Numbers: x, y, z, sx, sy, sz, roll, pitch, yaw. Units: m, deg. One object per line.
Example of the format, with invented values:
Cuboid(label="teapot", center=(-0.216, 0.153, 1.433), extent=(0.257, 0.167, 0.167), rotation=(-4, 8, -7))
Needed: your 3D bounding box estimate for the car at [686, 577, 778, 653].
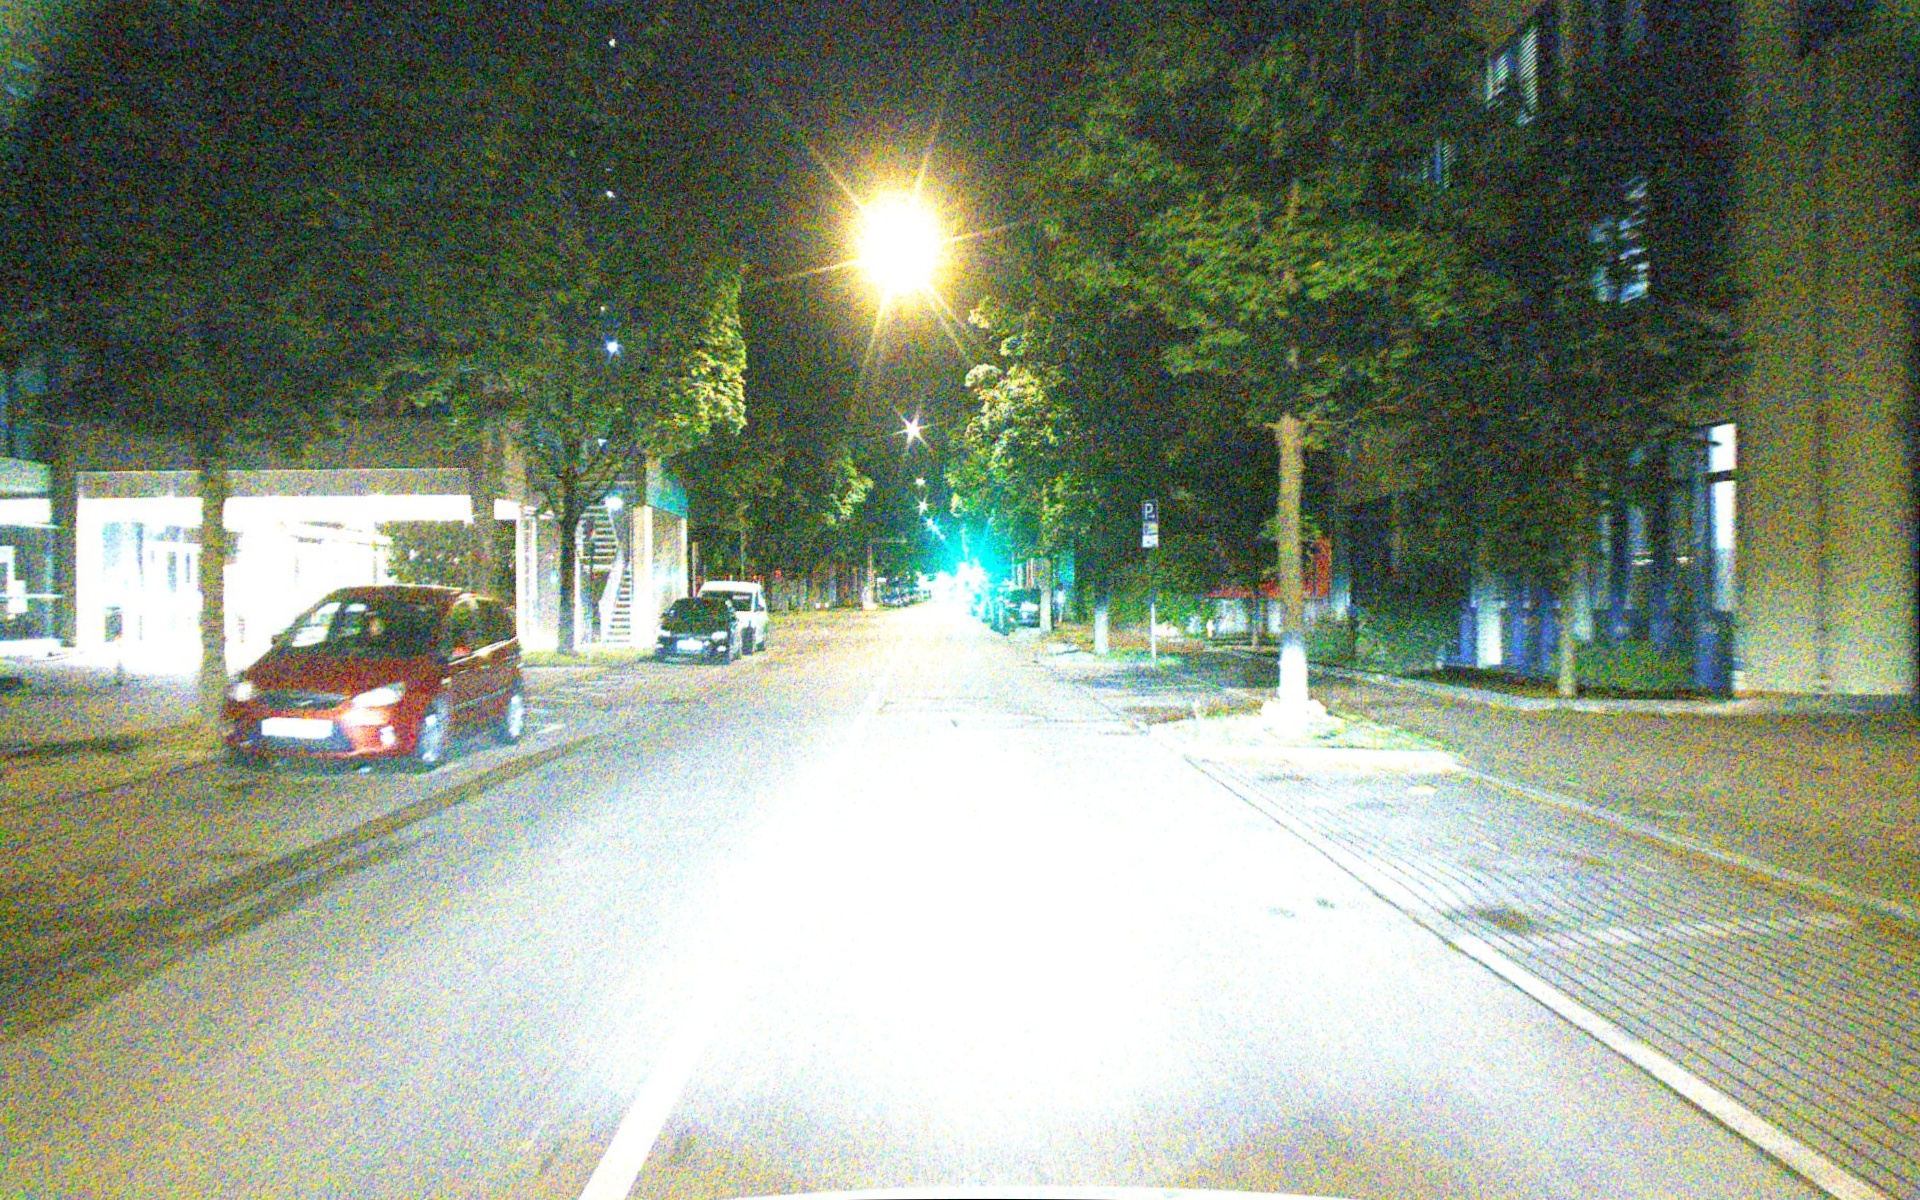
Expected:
Cuboid(label="car", center=(-6.020, 0.363, 44.087), extent=(1.785, 1.843, 4.210), rotation=(3, 1, 0))

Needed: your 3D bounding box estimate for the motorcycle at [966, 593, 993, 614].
Cuboid(label="motorcycle", center=(1.183, 0.203, 99.319), extent=(0.625, 1.292, 2.058), rotation=(0, 0, 34))

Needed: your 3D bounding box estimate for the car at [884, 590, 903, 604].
Cuboid(label="car", center=(-6.695, -0.324, 166.583), extent=(1.705, 1.440, 3.751), rotation=(0, 0, -1))

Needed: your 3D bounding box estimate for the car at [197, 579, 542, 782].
Cuboid(label="car", center=(-5.491, 0.660, 15.970), extent=(1.785, 1.626, 4.073), rotation=(3, 1, 0))

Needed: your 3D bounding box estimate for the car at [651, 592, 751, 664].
Cuboid(label="car", center=(-5.886, 0.602, 37.973), extent=(1.665, 1.458, 3.828), rotation=(3, 1, -1))

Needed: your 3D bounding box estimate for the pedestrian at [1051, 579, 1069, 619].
Cuboid(label="pedestrian", center=(4.460, -0.038, 73.665), extent=(0.691, 1.752, 0.821), rotation=(-2, 0, -1))

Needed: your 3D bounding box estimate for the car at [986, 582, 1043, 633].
Cuboid(label="car", center=(1.910, 0.239, 58.718), extent=(1.815, 1.682, 4.209), rotation=(-2, 1, 0))

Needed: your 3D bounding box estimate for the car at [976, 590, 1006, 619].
Cuboid(label="car", center=(1.614, 0.219, 87.265), extent=(1.489, 1.420, 3.984), rotation=(-2, 1, 0))

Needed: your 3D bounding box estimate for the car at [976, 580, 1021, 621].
Cuboid(label="car", center=(1.827, 0.024, 79.187), extent=(1.736, 1.838, 4.275), rotation=(-2, 0, -3))

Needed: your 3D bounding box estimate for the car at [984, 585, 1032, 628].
Cuboid(label="car", center=(1.915, 0.221, 64.929), extent=(1.814, 1.632, 4.210), rotation=(0, 0, 3))

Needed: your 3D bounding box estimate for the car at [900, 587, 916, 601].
Cuboid(label="car", center=(-5.675, -0.670, 180.781), extent=(1.705, 1.440, 3.752), rotation=(1, 2, -1))
